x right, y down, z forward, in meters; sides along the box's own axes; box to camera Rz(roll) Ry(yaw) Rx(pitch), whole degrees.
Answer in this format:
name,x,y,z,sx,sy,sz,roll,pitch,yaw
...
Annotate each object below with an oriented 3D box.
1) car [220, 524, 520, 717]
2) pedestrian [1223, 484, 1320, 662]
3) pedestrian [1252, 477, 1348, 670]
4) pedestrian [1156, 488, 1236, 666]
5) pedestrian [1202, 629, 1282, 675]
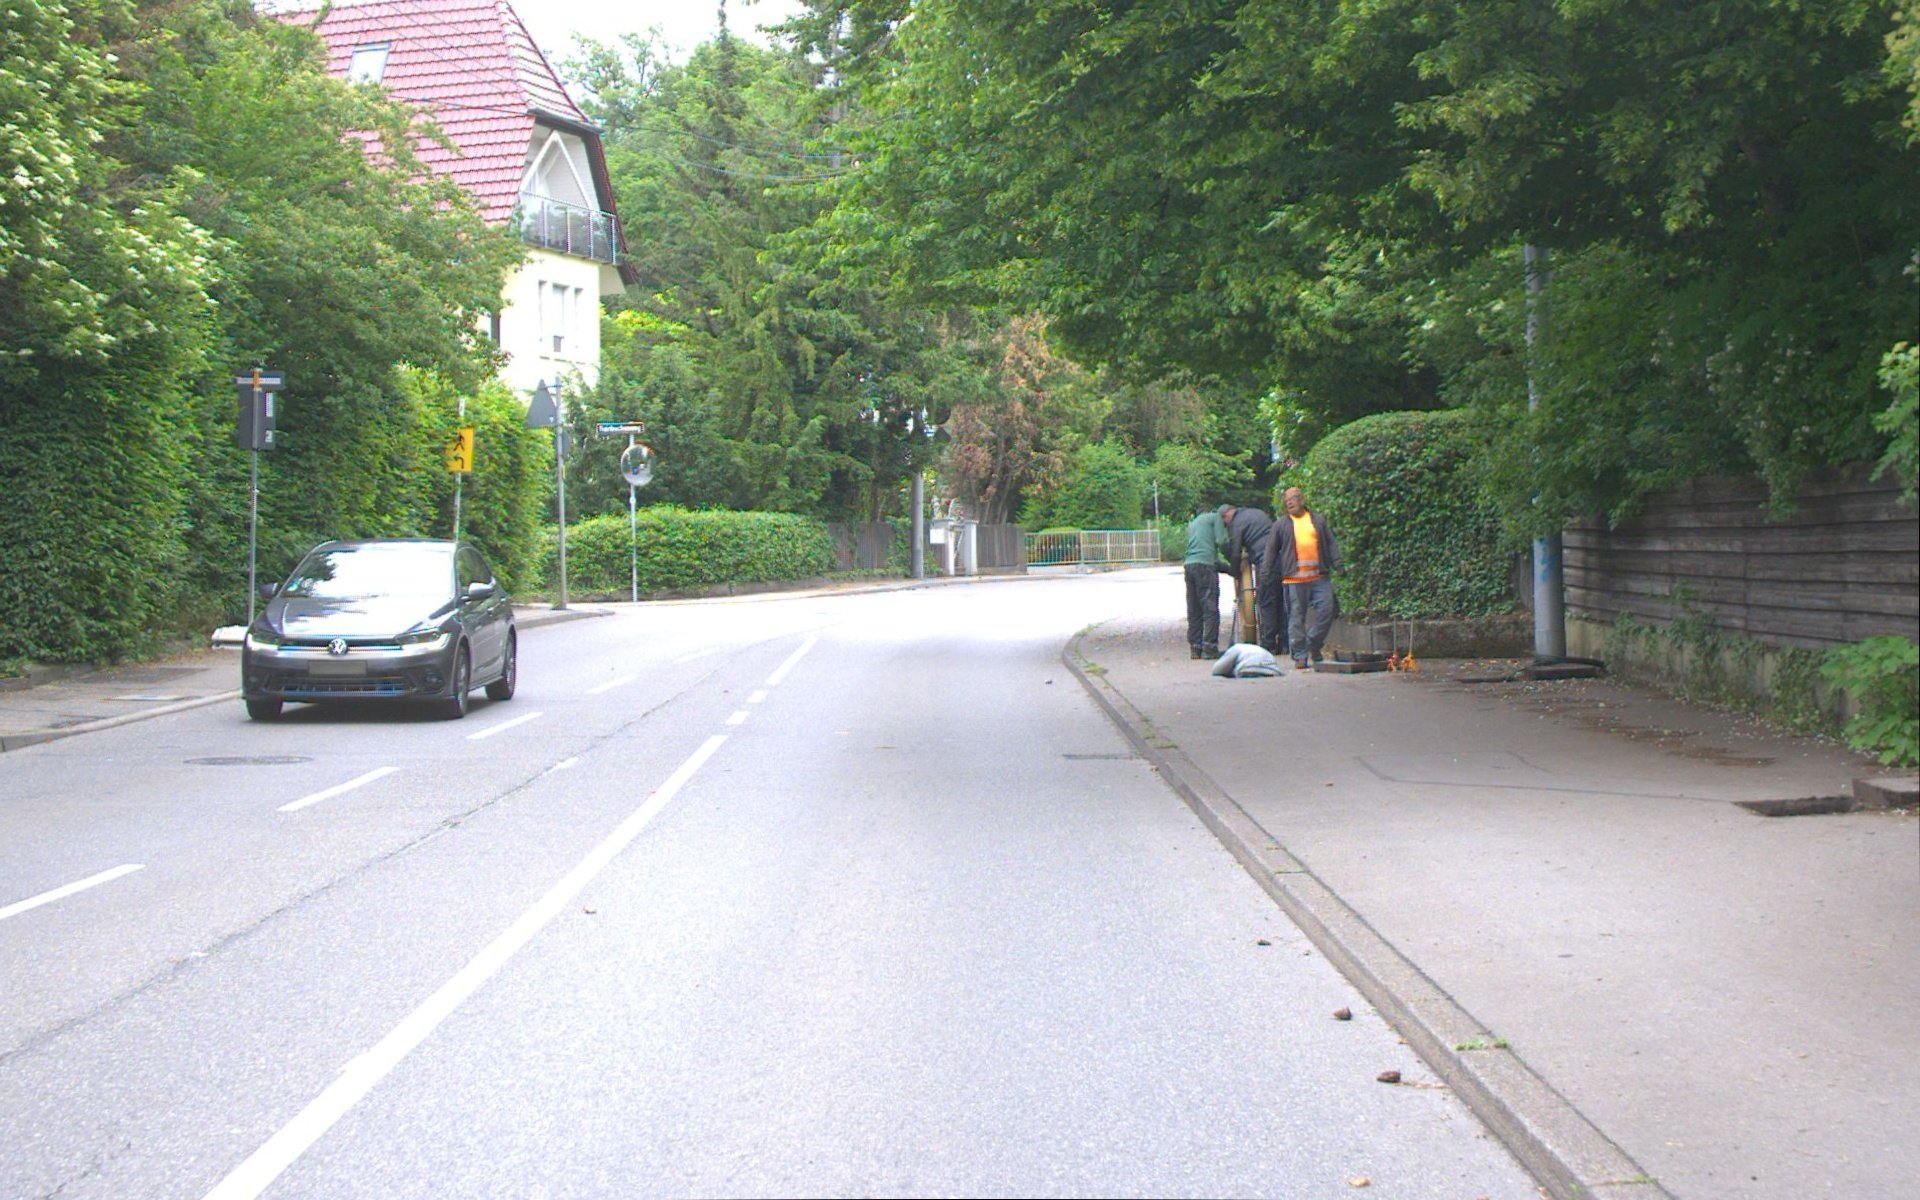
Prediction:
name,x,y,z,sx,sy,sz,roll,pitch,yaw
car,-4.825,0.115,28.619,1.681,1.466,4.017,-1,1,2
pedestrian,3.191,-0.283,35.192,0.689,1.801,0.673,-2,1,-41
pedestrian,3.221,-0.254,32.638,0.807,1.801,0.741,-1,1,-1
pedestrian,2.406,-0.239,35.085,0.601,1.801,0.517,0,1,41
pedestrian,2.608,0.478,31.841,0.672,0.392,0.741,-1,1,-1
